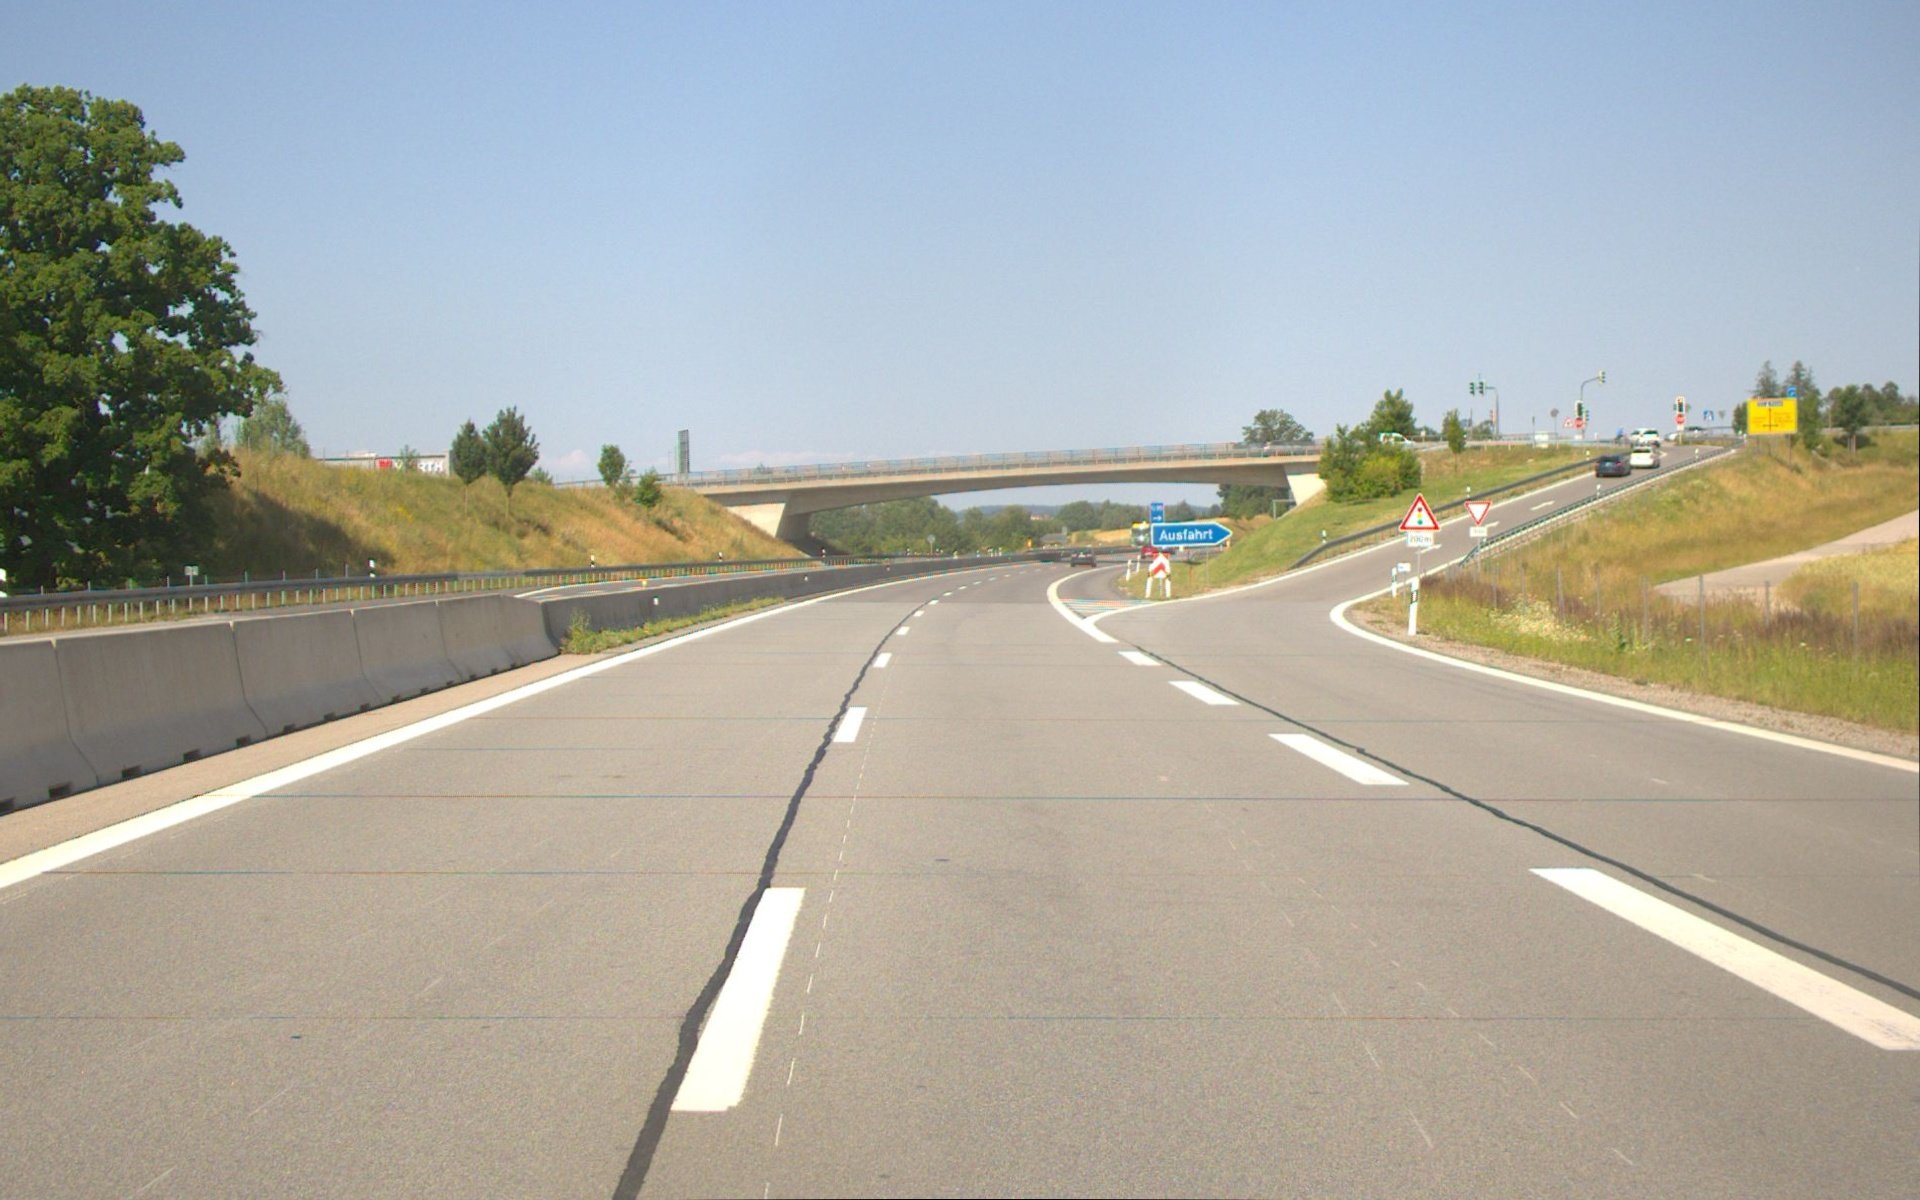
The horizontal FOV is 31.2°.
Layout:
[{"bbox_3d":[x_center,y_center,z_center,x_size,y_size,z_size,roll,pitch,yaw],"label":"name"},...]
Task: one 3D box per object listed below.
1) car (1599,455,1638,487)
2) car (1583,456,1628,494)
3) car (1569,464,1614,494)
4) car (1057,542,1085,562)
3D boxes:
[{"bbox_3d":[43.114,-8.428,224.909,1.995,2.007,3.997,-2,1,17],"label":"car"},{"bbox_3d":[36.740,-7.103,195.505,1.995,2.007,3.997,-2,1,17],"label":"car"},{"bbox_3d":[36.160,-6.921,196.861,1.995,1.612,3.997,-2,1,17],"label":"car"},{"bbox_3d":[8.117,-3.537,252.253,1.993,1.415,4.000,-2,1,2],"label":"car"}]
